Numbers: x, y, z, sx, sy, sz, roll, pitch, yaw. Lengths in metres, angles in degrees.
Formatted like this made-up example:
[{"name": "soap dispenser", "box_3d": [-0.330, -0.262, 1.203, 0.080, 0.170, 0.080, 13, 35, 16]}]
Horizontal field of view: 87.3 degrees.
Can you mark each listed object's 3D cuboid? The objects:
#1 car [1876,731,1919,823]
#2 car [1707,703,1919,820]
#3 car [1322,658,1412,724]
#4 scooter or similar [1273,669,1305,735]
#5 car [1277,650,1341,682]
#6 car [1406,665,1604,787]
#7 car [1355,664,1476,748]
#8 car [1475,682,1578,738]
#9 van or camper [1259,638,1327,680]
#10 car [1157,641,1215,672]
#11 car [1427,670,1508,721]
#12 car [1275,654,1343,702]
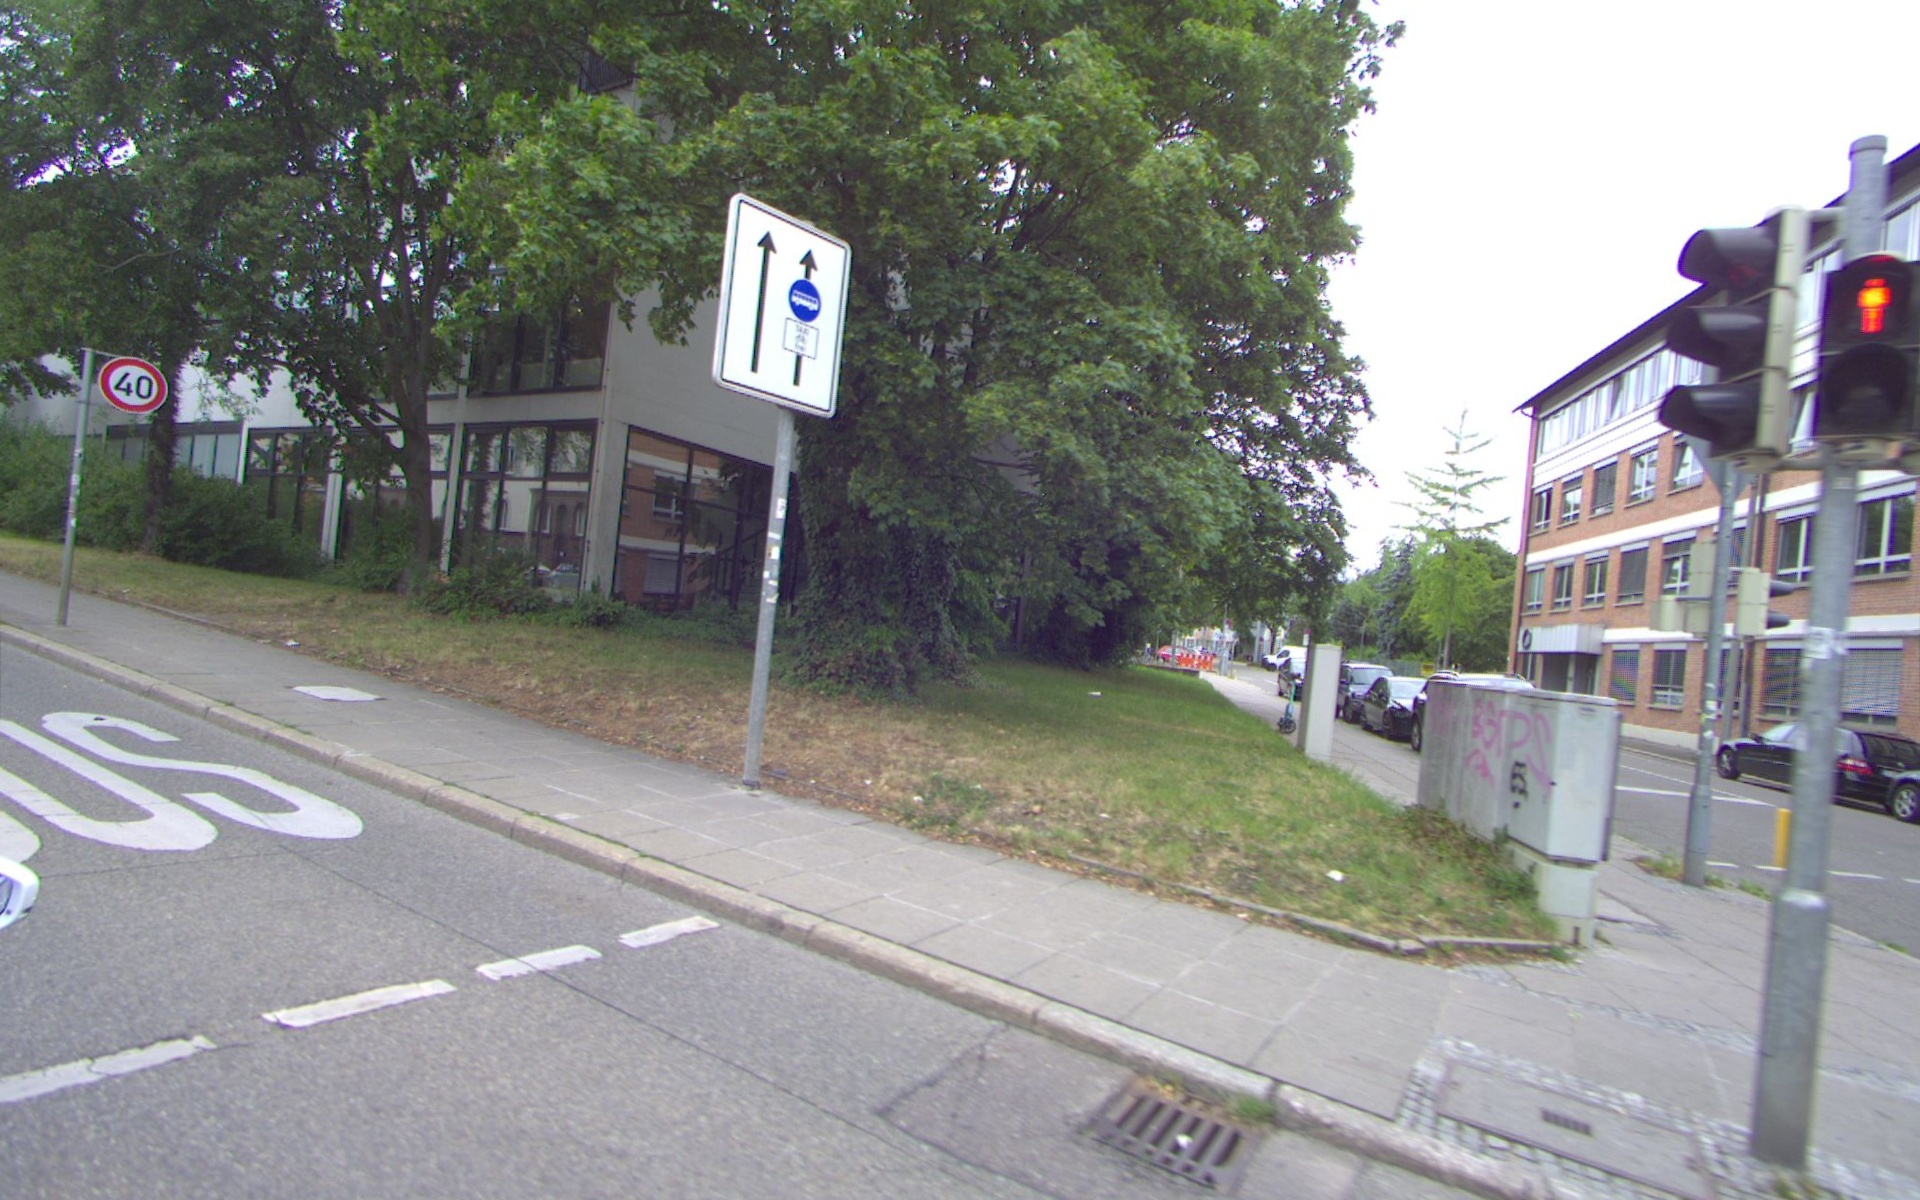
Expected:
[{"name": "car", "box_3d": [16.234, 3.029, 14.832, 1.740, 1.422, 4.422, 10, 0, 10]}, {"name": "car", "box_3d": [17.102, 3.122, 19.868, 1.740, 1.527, 4.400, 10, 0, 10]}, {"name": "car", "box_3d": [11.945, 2.626, 29.779, 1.665, 1.629, 4.311, 2, -1, 12]}, {"name": "scooter or similar", "box_3d": [6.756, 2.078, 20.678, 0.335, 1.245, 1.104, 8, 1, 12]}, {"name": "car", "box_3d": [26.812, 5.066, 77.401, 4.181, 1.567, 1.937, 11, 1, 7]}, {"name": "car", "box_3d": [9.940, 2.203, 18.791, 1.927, 1.748, 4.659, 2, -1, 12]}, {"name": "car", "box_3d": [10.943, 2.483, 24.476, 1.713, 1.629, 4.311, 2, -1, 12]}, {"name": "car", "box_3d": [20.280, 3.896, 36.201, 1.688, 1.337, 4.262, 11, 0, 10]}, {"name": "van or camper", "box_3d": [28.649, 5.058, 86.677, 5.037, 2.570, 1.937, 11, 1, 10]}, {"name": "car", "box_3d": [16.352, 4.093, 72.934, 3.910, 1.629, 1.851, 8, 0, 11]}, {"name": "car", "box_3d": [21.458, 3.994, 42.729, 1.688, 1.567, 4.262, 10, 1, 10]}, {"name": "car", "box_3d": [13.929, 3.085, 40.360, 1.961, 1.629, 4.311, 2, -1, 12]}]
